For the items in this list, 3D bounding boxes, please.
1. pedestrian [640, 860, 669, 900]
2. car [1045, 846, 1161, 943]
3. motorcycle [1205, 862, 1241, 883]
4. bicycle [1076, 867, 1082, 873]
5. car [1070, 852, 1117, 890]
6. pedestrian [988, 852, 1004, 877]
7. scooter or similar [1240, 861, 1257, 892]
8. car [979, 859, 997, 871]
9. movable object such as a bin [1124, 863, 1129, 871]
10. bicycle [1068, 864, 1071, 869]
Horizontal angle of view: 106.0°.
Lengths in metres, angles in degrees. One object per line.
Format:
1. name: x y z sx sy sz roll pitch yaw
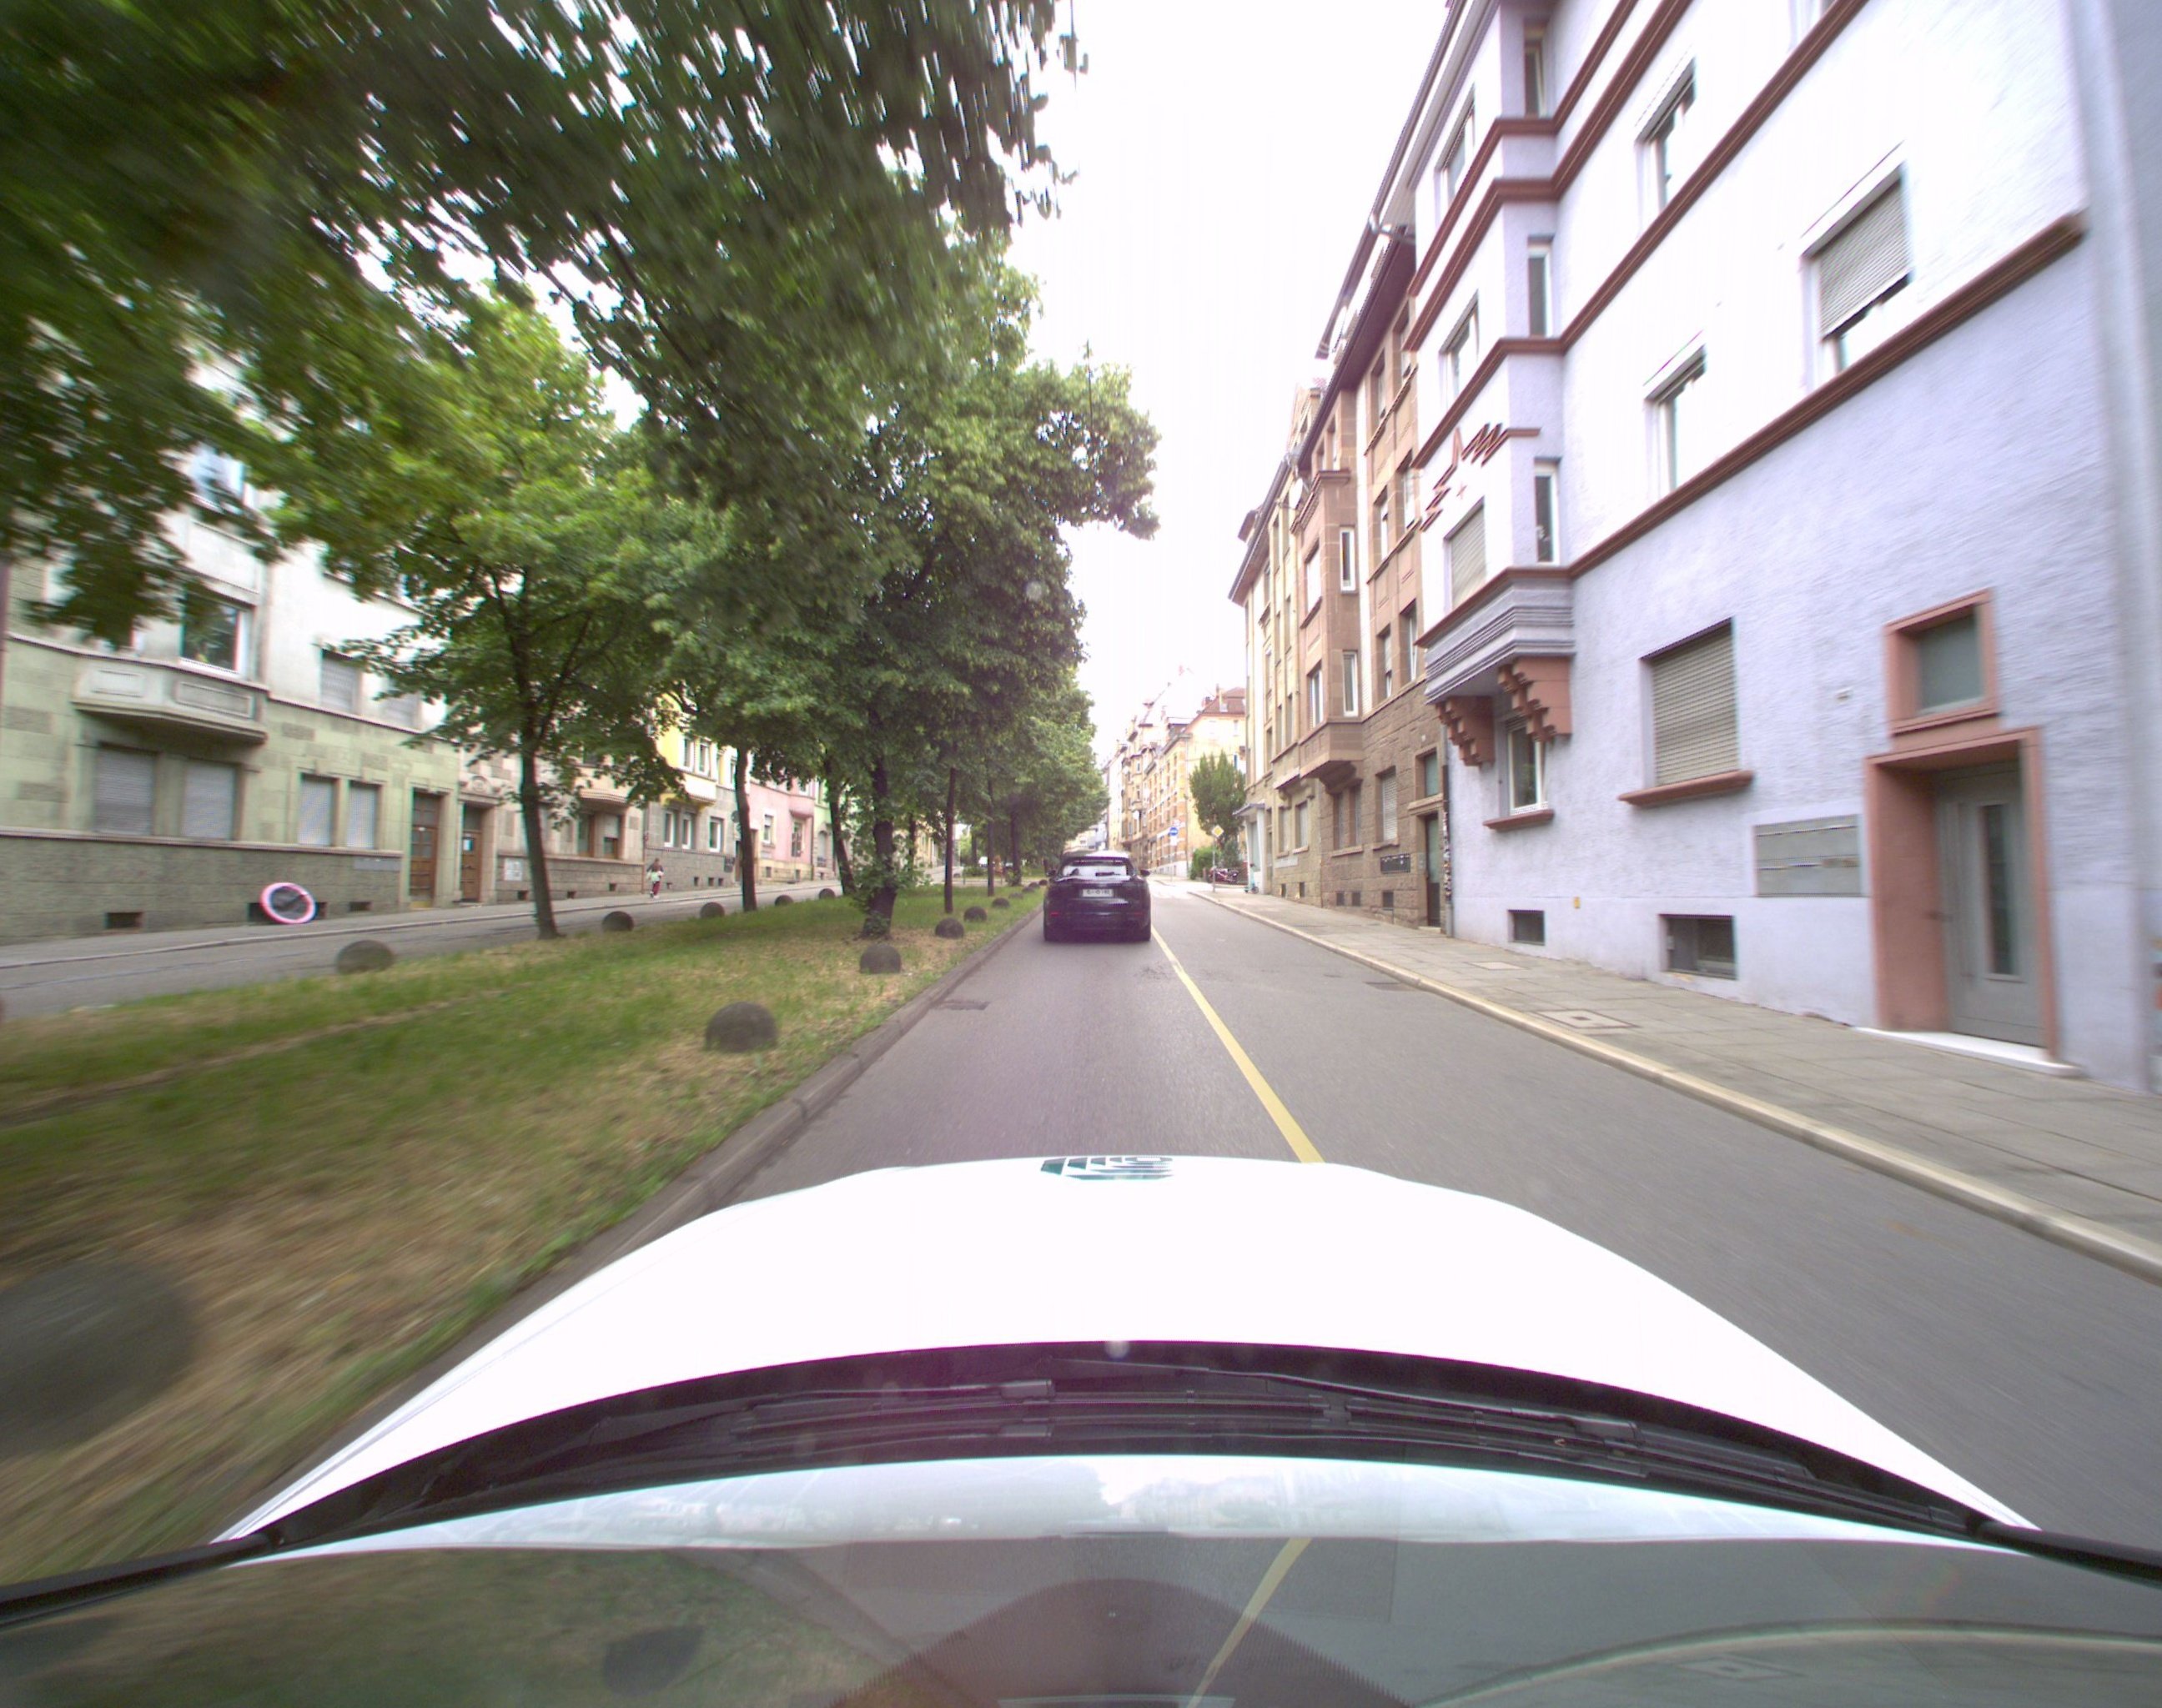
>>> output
1. pedestrian: -15.895 0.954 30.367 0.696 1.460 0.704 1 0 1
2. car: 0.362 0.695 16.158 1.988 1.665 3.998 1 0 -1
3. motorcycle: 9.033 1.188 51.857 2.051 1.268 1.009 2 -1 -4
4. bicycle: -0.393 3.122 162.587 0.878 1.129 2.972 1 -3 -6
5. car: 0.461 0.708 33.929 1.759 1.466 3.588 1 -2 -2
6. pedestrian: -5.943 0.740 56.993 0.830 1.712 1.123 -3 -3 1
7. scooter or similar: 6.895 0.914 33.526 0.408 1.210 1.145 -2 2 1
8. car: -12.441 1.480 109.583 1.702 1.382 4.670 -1 0 2
9. movable object such as a bin: 5.748 1.655 102.828 0.593 0.904 0.562 1 -1 -4
10. bicycle: -2.431 2.689 173.631 0.446 1.037 2.242 0 -3 -8
